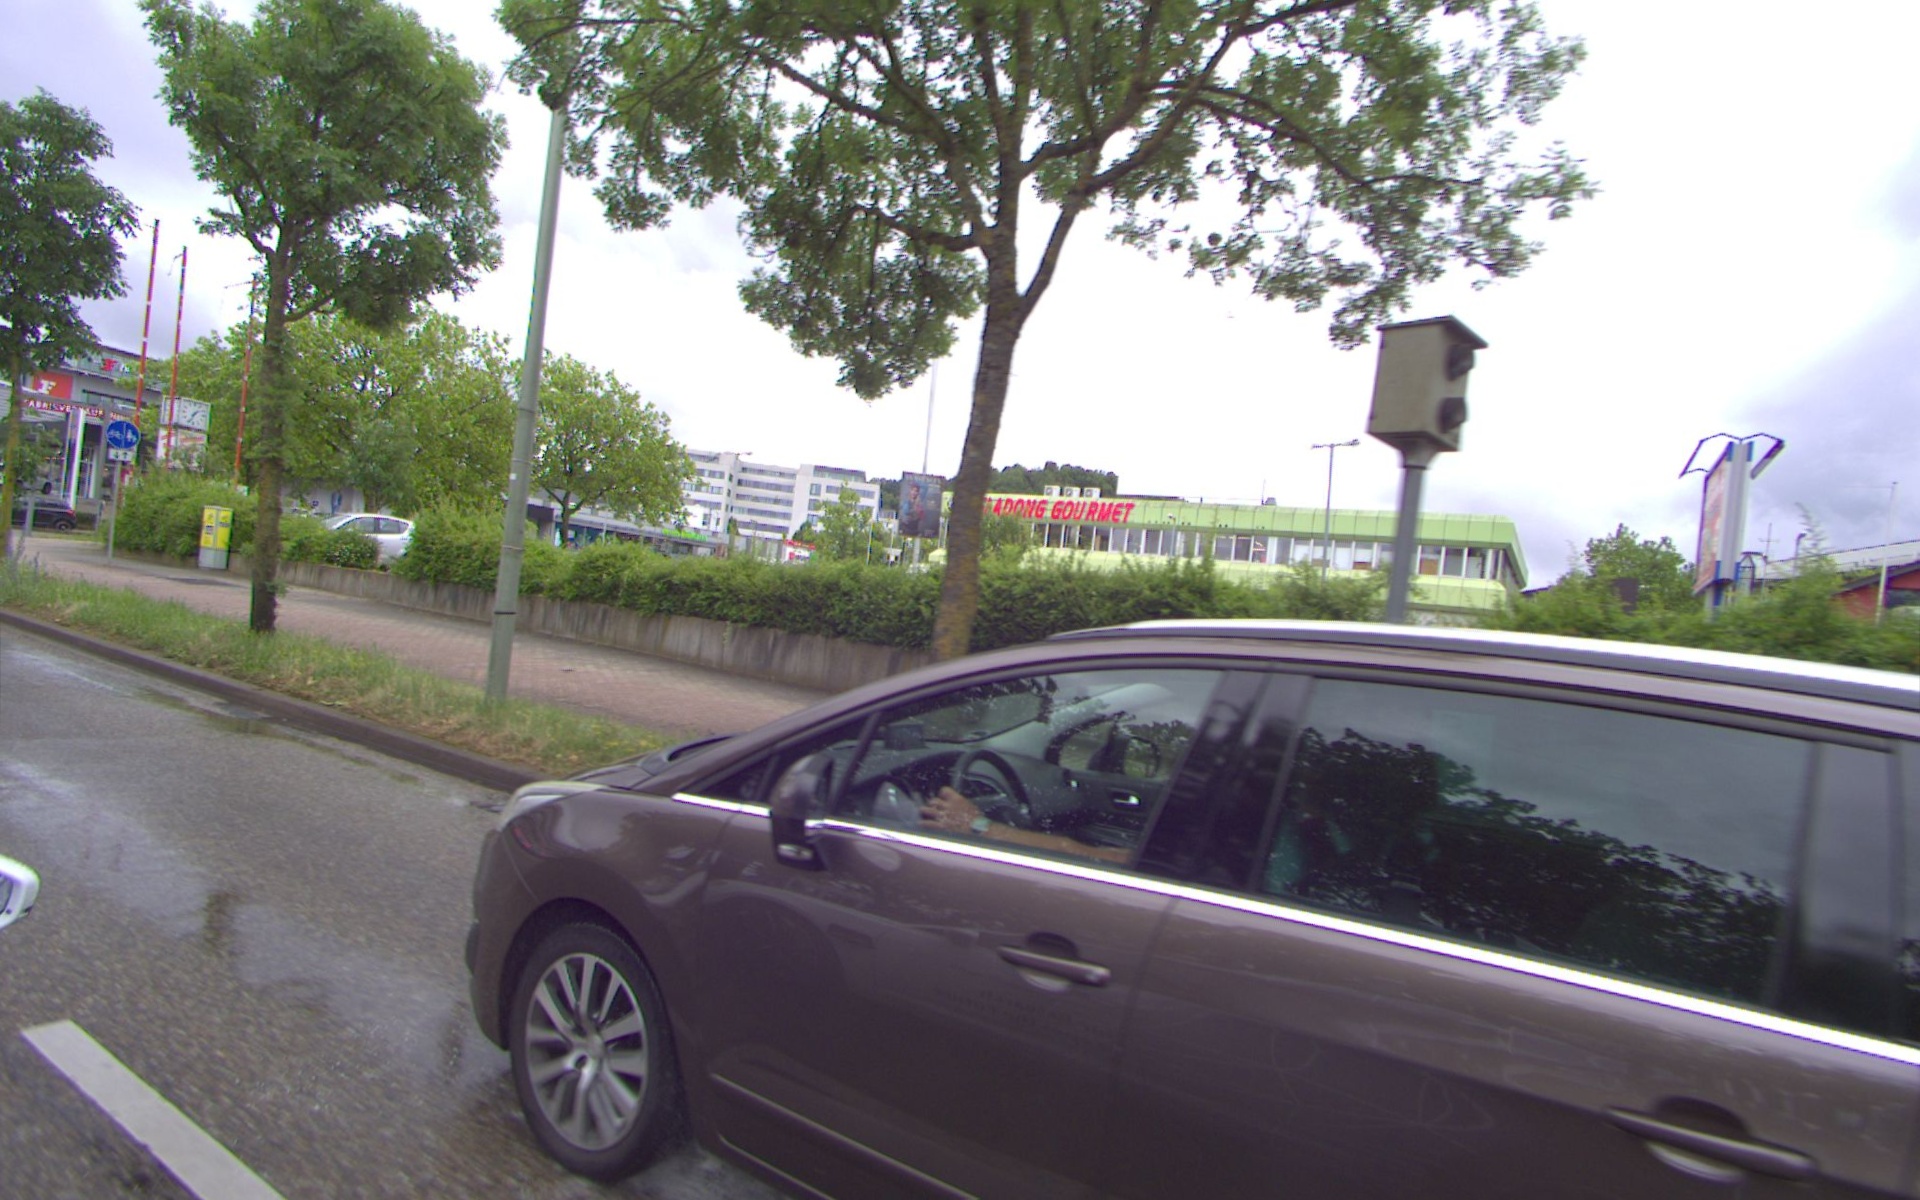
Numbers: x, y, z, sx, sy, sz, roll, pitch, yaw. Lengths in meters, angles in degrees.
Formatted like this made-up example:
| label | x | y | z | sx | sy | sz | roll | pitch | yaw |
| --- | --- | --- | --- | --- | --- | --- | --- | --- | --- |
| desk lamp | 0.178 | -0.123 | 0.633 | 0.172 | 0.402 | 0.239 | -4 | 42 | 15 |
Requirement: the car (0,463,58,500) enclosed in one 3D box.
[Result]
| label | x | y | z | sx | sy | sz | roll | pitch | yaw |
| --- | --- | --- | --- | --- | --- | --- | --- | --- | --- |
| car | -58.492 | -7.411 | 62.425 | 1.709 | 1.793 | 4.145 | 7 | 0 | -11 |

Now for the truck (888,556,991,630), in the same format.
| label | x | y | z | sx | sy | sz | roll | pitch | yaw |
| --- | --- | --- | --- | --- | --- | --- | --- | --- | --- |
| truck | -1.290 | -0.436 | 62.959 | 5.051 | 3.759 | 3.158 | 8 | -1 | 32 |

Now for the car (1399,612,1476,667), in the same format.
| label | x | y | z | sx | sy | sz | roll | pitch | yaw |
| --- | --- | --- | --- | --- | --- | --- | --- | --- | --- |
| car | 19.686 | 1.677 | 41.341 | 2.340 | 1.800 | 4.977 | 7 | 0 | 30 |

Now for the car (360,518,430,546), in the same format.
| label | x | y | z | sx | sy | sz | roll | pitch | yaw |
| --- | --- | --- | --- | --- | --- | --- | --- | --- | --- |
| car | -42.237 | -5.071 | 75.216 | 4.084 | 1.499 | 1.735 | 7 | 0 | -9 |

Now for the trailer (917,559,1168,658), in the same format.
| label | x | y | z | sx | sy | sz | roll | pitch | yaw |
| --- | --- | --- | --- | --- | --- | --- | --- | --- | --- |
| trailer | 4.526 | 0.379 | 59.270 | 14.566 | 3.759 | 3.158 | 8 | -1 | 32 |

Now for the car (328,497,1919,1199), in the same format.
| label | x | y | z | sx | sy | sz | roll | pitch | yaw |
| --- | --- | --- | --- | --- | --- | --- | --- | --- | --- |
| car | 0.438 | 0.779 | 2.686 | 4.396 | 1.644 | 1.729 | 7 | 0 | 32 |

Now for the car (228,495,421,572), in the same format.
| label | x | y | z | sx | sy | sz | roll | pitch | yaw |
| --- | --- | --- | --- | --- | --- | --- | --- | --- | --- |
| car | -16.979 | -1.741 | 27.050 | 1.628 | 1.459 | 3.990 | 7 | 0 | 33 |

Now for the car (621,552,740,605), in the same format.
| label | x | y | z | sx | sy | sz | roll | pitch | yaw |
| --- | --- | --- | --- | --- | --- | --- | --- | --- | --- |
| car | -10.631 | -0.790 | 38.496 | 1.968 | 1.459 | 3.990 | 7 | 0 | 33 |

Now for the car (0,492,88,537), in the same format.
| label | x | y | z | sx | sy | sz | roll | pitch | yaw |
| --- | --- | --- | --- | --- | --- | --- | --- | --- | --- |
| car | -39.553 | -3.663 | 42.270 | 1.787 | 1.507 | 3.983 | 6 | 0 | 31 |
